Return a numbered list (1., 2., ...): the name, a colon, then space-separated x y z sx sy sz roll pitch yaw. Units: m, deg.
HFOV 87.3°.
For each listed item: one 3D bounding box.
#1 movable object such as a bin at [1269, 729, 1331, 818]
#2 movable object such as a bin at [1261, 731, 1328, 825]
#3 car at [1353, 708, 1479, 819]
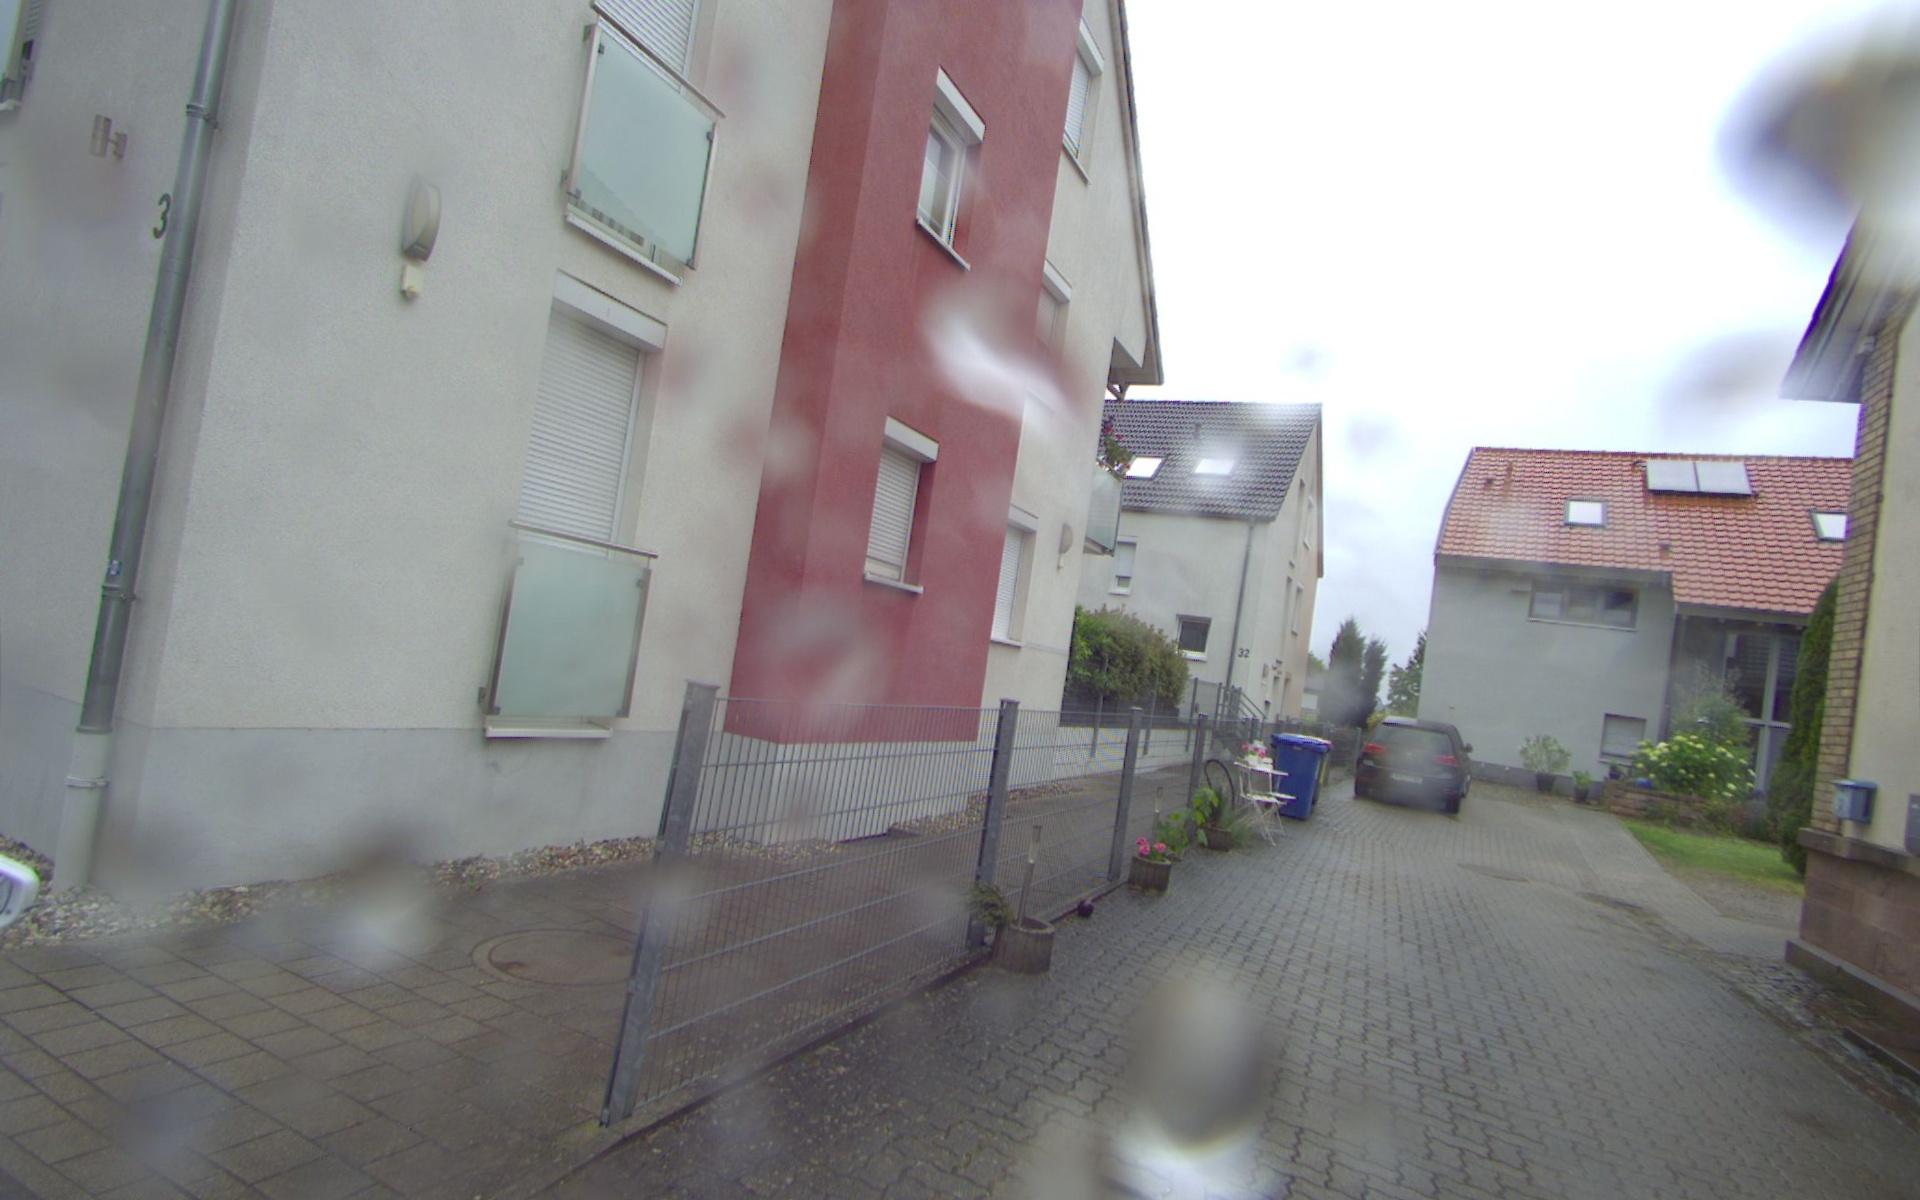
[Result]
1. movable object such as a bin: 4.819 2.440 14.247 0.675 1.108 0.536 7 -2 25
2. movable object such as a bin: 4.479 2.364 13.469 0.675 1.108 0.536 7 -2 25
3. car: 8.553 2.916 18.689 1.656 1.491 3.993 7 0 30
